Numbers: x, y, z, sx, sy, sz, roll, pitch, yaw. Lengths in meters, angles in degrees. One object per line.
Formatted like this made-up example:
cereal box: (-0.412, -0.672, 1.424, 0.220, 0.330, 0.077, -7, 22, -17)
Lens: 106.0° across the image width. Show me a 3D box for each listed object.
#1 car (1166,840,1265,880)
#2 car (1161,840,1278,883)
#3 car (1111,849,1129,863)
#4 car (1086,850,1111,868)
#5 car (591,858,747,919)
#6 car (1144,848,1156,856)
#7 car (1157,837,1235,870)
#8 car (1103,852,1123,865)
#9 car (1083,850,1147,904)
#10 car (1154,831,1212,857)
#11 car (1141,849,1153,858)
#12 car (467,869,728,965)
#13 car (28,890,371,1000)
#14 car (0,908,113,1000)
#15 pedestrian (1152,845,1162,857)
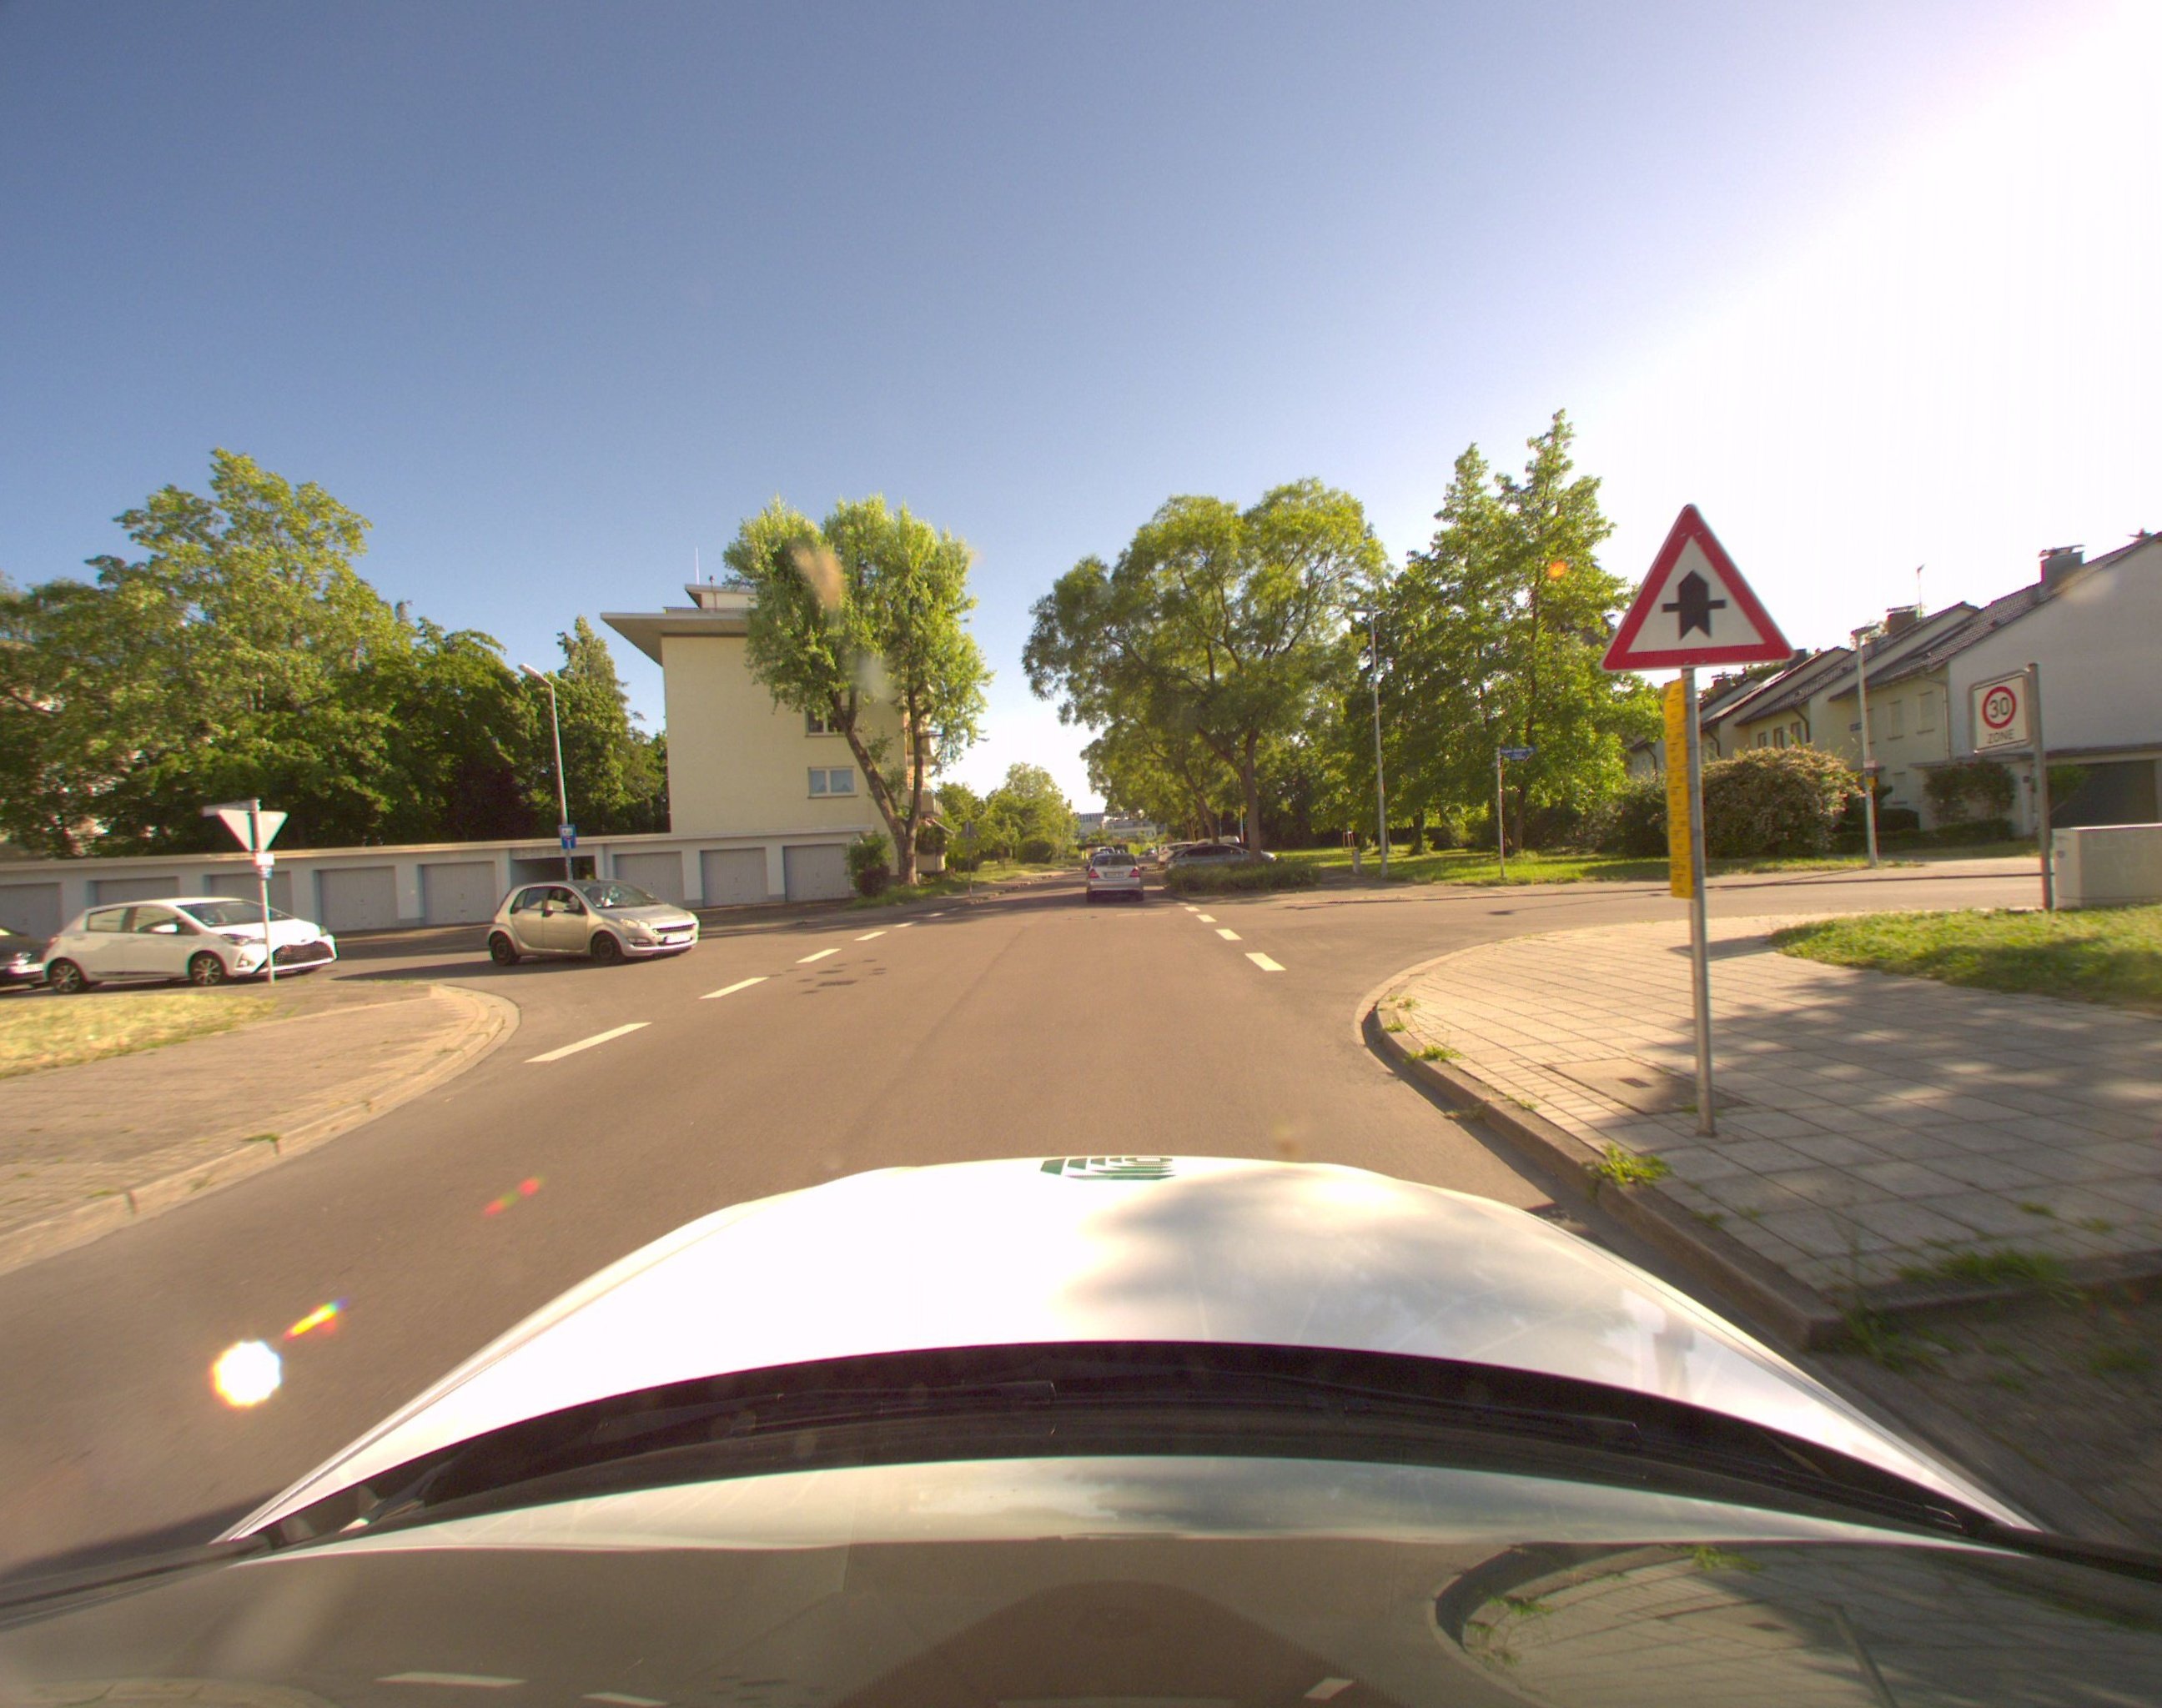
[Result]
car: (6.251, 0.258, 38.258, 4.406, 1.571, 1.740, -3, 0, 4)
car: (6.003, 0.297, 35.786, 4.764, 1.549, 2.013, -3, 0, 2)
car: (4.949, 0.217, 103.728, 1.740, 1.520, 4.203, -5, 0, 9)
car: (1.711, 0.422, 78.665, 1.903, 1.490, 3.845, -6, 0, 7)
car: (-15.897, 1.296, 31.658, 4.873, 1.924, 1.998, -4, 0, -3)
car: (13.768, -0.445, 161.671, 1.882, 1.502, 3.667, -3, 0, 10)
car: (7.446, -0.043, 53.287, 4.861, 1.723, 2.003, -4, 0, 5)
car: (3.830, 0.523, 97.224, 1.739, 1.329, 3.460, -6, 0, 10)
car: (0.985, 0.660, 24.634, 1.727, 1.434, 3.438, -3, -1, 0)
car: (9.477, -0.941, 75.823, 5.190, 2.059, 2.004, -4, 0, 6)
car: (12.446, -0.128, 153.464, 1.882, 1.502, 3.667, -3, 0, 10)
car: (-8.709, 1.126, 14.731, 3.894, 1.460, 2.009, -3, 0, 21)
car: (-15.324, 1.551, 14.314, 3.966, 1.464, 2.047, -4, 0, 6)
car: (-20.704, 1.915, 14.627, 4.420, 1.460, 2.047, -4, 0, 6)
pedestrian: (14.327, -0.558, 153.375, 1.563, 2.089, 1.730, -3, 0, 13)
